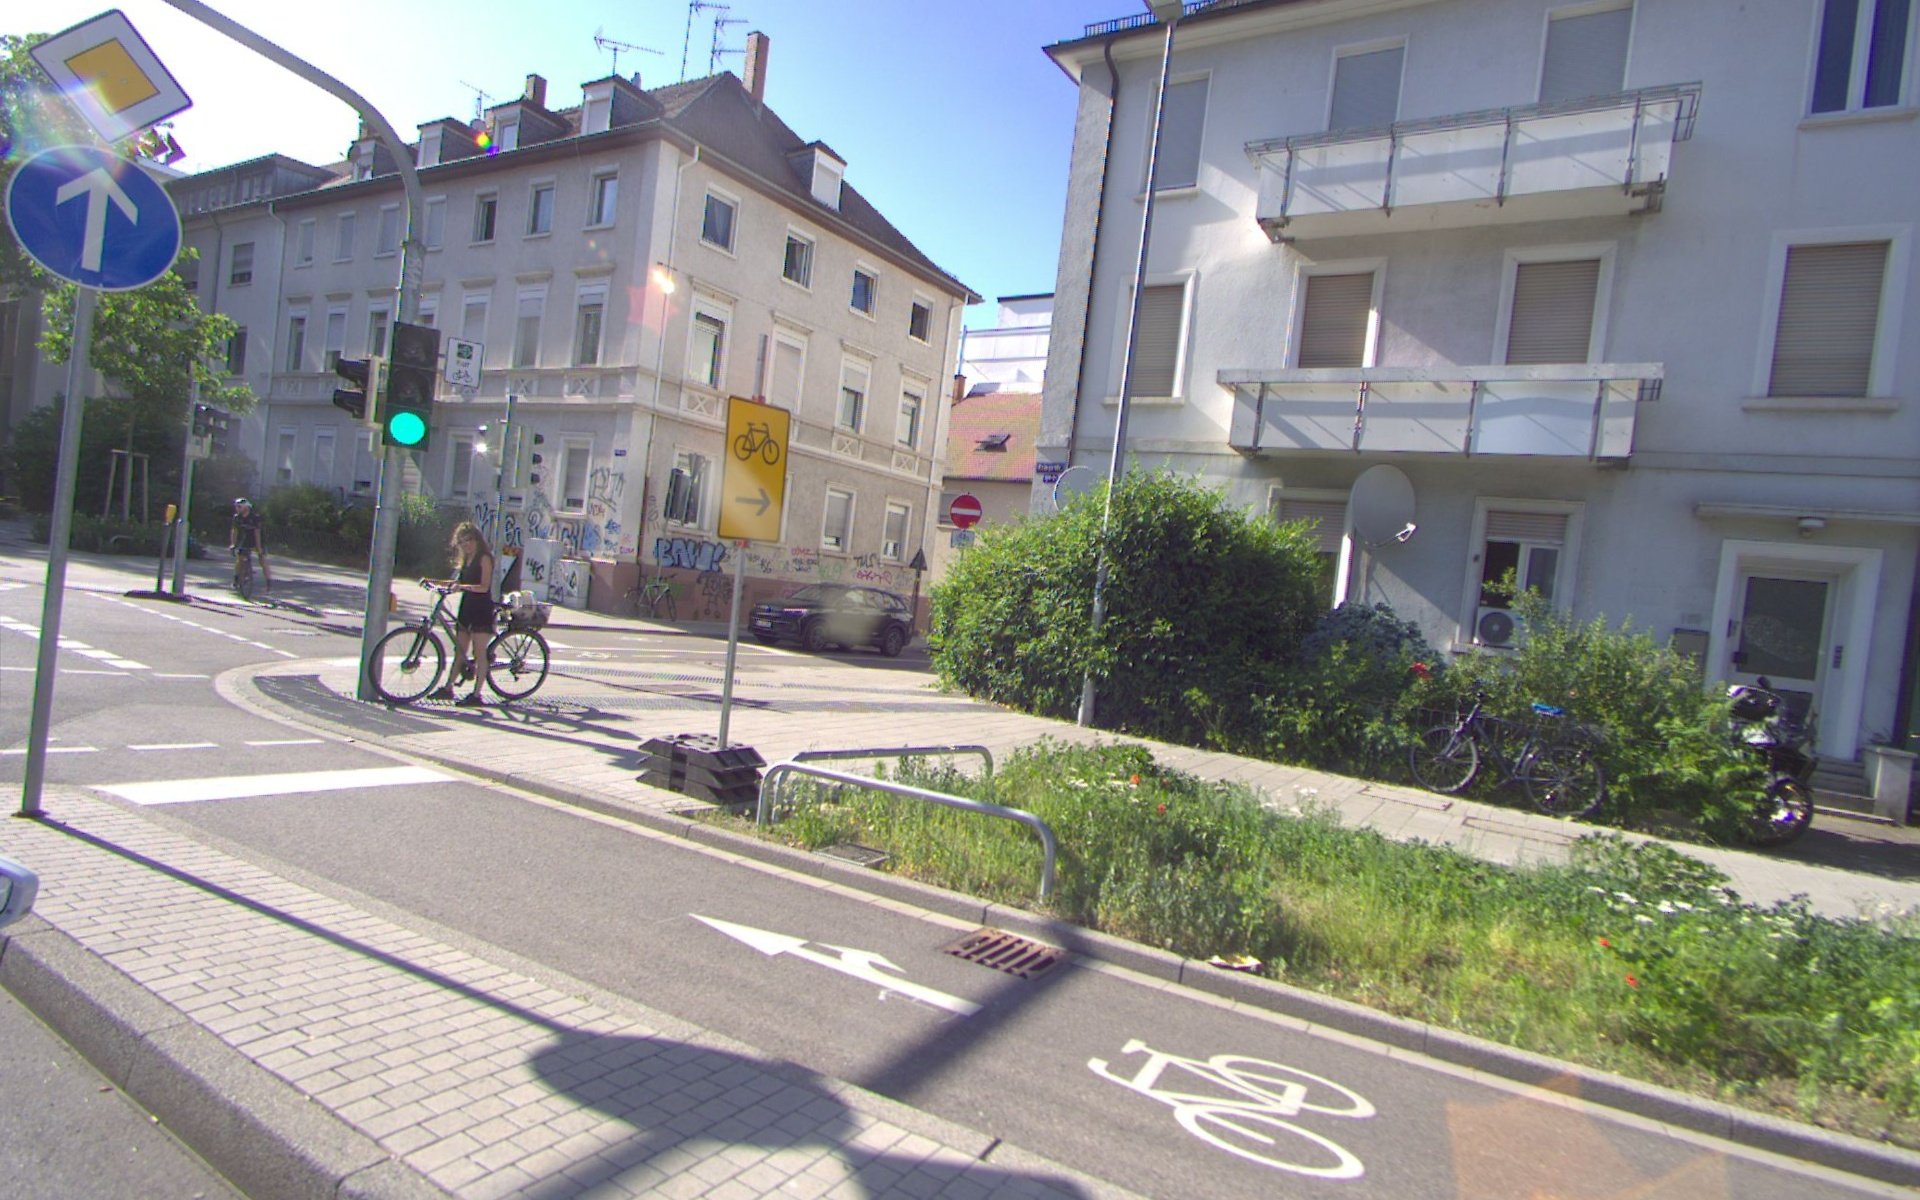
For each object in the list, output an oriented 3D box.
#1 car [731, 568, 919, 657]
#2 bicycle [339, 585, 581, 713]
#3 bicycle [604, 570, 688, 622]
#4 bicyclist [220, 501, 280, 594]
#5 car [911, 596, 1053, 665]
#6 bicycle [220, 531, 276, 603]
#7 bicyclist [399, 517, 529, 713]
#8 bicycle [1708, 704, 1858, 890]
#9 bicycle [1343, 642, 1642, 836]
[{"bbox_3d":[-3.152,0.357,24.260,1.954,1.638,4.250,7,-1,37],"label":"car"},{"bbox_3d":[-4.702,0.504,9.627,0.595,1.037,1.966,8,0,31],"label":"bicycle"},{"bbox_3d":[-7.793,-0.091,25.086,0.570,1.093,1.998,8,0,33],"label":"bicycle"},{"bbox_3d":[-12.518,-0.932,17.758,0.719,1.518,0.863,6,2,-33],"label":"bicyclist"},{"bbox_3d":[0.707,0.927,29.372,1.970,1.584,4.111,7,0,37],"label":"car"},{"bbox_3d":[-12.559,-0.594,17.767,0.684,1.112,1.671,6,1,-34],"label":"bicycle"},{"bbox_3d":[-4.732,0.142,9.599,0.844,1.730,0.604,8,2,32],"label":"bicyclist"},{"bbox_3d":[8.136,1.865,10.050,0.627,1.503,2.258,8,1,30],"label":"bicycle"},{"bbox_3d":[5.352,1.342,10.258,2.449,1.461,0.709,8,0,31],"label":"bicycle"}]
